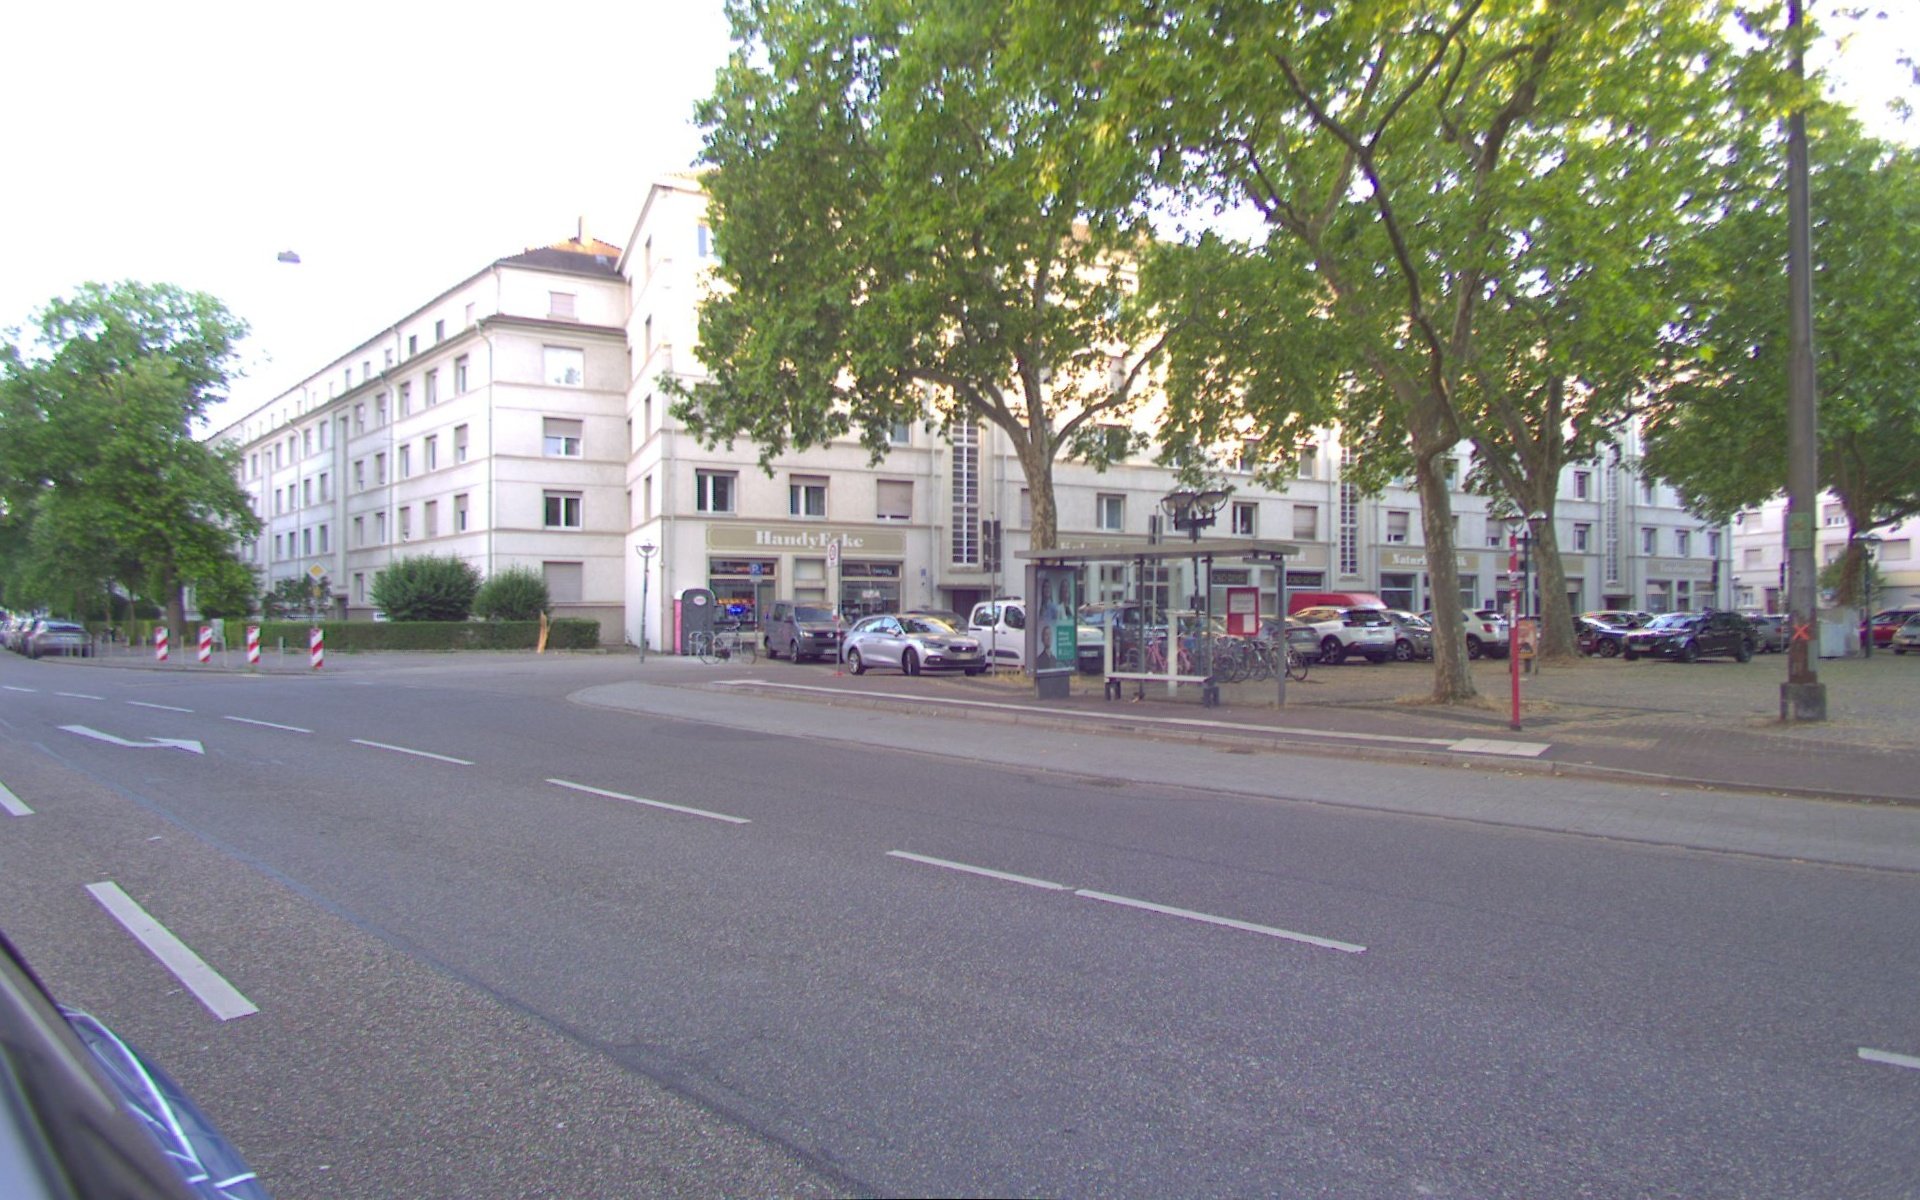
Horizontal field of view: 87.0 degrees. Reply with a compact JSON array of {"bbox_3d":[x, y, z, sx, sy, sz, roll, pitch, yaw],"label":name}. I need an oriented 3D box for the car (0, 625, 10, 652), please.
[{"bbox_3d":[-70.059,2.797,73.242,1.866,1.840,4.263,-1,0,-44],"label":"car"}]

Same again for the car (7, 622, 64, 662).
[{"bbox_3d":[-43.330,1.913,47.417,1.866,1.703,4.263,-1,0,-44],"label":"car"}]

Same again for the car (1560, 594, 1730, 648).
[{"bbox_3d":[24.738,0.822,36.749,2.057,1.795,4.655,1,-3,-28],"label":"car"}]

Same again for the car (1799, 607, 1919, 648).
[{"bbox_3d":[40.629,1.258,45.097,1.969,1.748,4.648,2,-4,-40],"label":"car"}]

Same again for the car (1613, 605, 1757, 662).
[{"bbox_3d":[20.750,0.927,28.978,3.696,1.540,1.680,1,0,-23],"label":"car"}]

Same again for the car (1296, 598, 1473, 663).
[{"bbox_3d":[12.600,0.960,30.371,1.965,1.795,4.655,1,-3,-28],"label":"car"}]

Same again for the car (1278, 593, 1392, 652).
[{"bbox_3d":[16.646,0.945,45.180,1.965,2.460,4.656,1,0,-26],"label":"car"}]

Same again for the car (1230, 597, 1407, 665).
[{"bbox_3d":[10.187,0.946,29.120,1.965,1.795,4.655,1,-3,-28],"label":"car"}]

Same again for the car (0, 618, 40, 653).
[{"bbox_3d":[-52.885,1.952,56.691,1.866,1.787,4.263,-1,0,-44],"label":"car"}]

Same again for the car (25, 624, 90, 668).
[{"bbox_3d":[-37.324,1.867,41.833,1.867,1.612,4.003,-1,0,-44],"label":"car"}]

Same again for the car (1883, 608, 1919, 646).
[{"bbox_3d":[45.721,1.229,46.507,1.969,1.748,4.648,2,-4,-40],"label":"car"}]

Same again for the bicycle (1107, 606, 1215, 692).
[{"bbox_3d":[4.057,0.942,20.711,0.680,1.626,2.754,0,0,-24],"label":"bicycle"}]

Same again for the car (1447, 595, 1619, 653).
[{"bbox_3d":[19.180,0.867,34.106,1.965,1.795,4.655,1,-3,-28],"label":"car"}]

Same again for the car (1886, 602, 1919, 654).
[{"bbox_3d":[33.072,0.902,33.885,3.696,1.674,1.680,-1,0,-23],"label":"car"}]

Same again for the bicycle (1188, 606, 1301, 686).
[{"bbox_3d":[6.174,0.948,22.155,0.795,1.626,2.754,0,0,-24],"label":"bicycle"}]

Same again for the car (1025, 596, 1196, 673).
[{"bbox_3d":[3.764,0.933,26.214,1.965,1.795,4.655,1,-3,-28],"label":"car"}]

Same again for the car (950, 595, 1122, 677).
[{"bbox_3d":[1.720,0.914,24.755,1.965,1.795,4.655,1,-3,-28],"label":"car"}]

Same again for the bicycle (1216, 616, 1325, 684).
[{"bbox_3d":[6.885,1.068,22.669,0.680,1.394,2.754,0,0,-24],"label":"bicycle"}]

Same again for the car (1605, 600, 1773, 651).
[{"bbox_3d":[27.080,1.019,37.763,1.965,1.795,4.655,1,-3,-28],"label":"car"}]

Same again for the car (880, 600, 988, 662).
[{"bbox_3d":[-0.992,1.020,35.410,1.965,1.970,4.656,1,0,-26],"label":"car"}]

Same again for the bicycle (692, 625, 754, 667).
[{"bbox_3d":[-7.171,1.376,30.653,1.776,1.215,0.649,0,0,-16],"label":"bicycle"}]

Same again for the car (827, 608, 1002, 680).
[{"bbox_3d":[-1.194,1.048,23.886,1.967,1.515,4.652,2,-3,-35],"label":"car"}]

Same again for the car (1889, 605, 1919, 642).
[{"bbox_3d":[47.548,1.103,48.156,1.969,1.748,4.648,2,-4,-40],"label":"car"}]

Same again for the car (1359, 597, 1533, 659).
[{"bbox_3d":[15.171,0.940,31.872,1.965,1.795,4.655,1,-3,-28],"label":"car"}]

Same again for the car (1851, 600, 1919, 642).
[{"bbox_3d":[43.429,0.944,45.543,1.968,1.824,4.658,2,-4,-38],"label":"car"}]

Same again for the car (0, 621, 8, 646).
[{"bbox_3d":[-76.322,2.679,79.730,1.866,1.879,4.263,-1,0,-44],"label":"car"}]

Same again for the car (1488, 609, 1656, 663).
[{"bbox_3d":[21.363,1.296,35.565,1.965,1.748,4.655,1,-3,-28],"label":"car"}]

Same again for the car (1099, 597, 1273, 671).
[{"bbox_3d":[5.920,0.958,27.119,1.965,1.795,4.655,1,-3,-28],"label":"car"}]

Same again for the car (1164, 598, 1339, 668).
[{"bbox_3d":[7.974,0.958,28.201,1.965,1.795,4.655,1,-3,-28],"label":"car"}]

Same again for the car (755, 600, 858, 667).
[{"bbox_3d":[-5.092,1.019,33.064,1.965,1.970,4.656,1,0,-26],"label":"car"}]

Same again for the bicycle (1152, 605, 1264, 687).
[{"bbox_3d":[5.235,0.930,21.639,0.795,1.626,2.754,0,0,-24],"label":"bicycle"}]

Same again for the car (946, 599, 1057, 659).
[{"bbox_3d":[1.417,0.997,36.595,1.965,1.970,4.656,1,0,-26],"label":"car"}]

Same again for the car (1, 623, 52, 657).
[{"bbox_3d":[-48.545,2.034,52.610,1.866,1.612,4.263,-1,0,-44],"label":"car"}]

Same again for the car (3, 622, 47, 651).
[{"bbox_3d":[-56.429,2.155,61.034,1.866,1.612,4.263,-1,0,-44],"label":"car"}]

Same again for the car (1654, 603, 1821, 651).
[{"bbox_3d":[29.882,1.107,39.055,1.965,1.748,4.655,1,-3,-28],"label":"car"}]
